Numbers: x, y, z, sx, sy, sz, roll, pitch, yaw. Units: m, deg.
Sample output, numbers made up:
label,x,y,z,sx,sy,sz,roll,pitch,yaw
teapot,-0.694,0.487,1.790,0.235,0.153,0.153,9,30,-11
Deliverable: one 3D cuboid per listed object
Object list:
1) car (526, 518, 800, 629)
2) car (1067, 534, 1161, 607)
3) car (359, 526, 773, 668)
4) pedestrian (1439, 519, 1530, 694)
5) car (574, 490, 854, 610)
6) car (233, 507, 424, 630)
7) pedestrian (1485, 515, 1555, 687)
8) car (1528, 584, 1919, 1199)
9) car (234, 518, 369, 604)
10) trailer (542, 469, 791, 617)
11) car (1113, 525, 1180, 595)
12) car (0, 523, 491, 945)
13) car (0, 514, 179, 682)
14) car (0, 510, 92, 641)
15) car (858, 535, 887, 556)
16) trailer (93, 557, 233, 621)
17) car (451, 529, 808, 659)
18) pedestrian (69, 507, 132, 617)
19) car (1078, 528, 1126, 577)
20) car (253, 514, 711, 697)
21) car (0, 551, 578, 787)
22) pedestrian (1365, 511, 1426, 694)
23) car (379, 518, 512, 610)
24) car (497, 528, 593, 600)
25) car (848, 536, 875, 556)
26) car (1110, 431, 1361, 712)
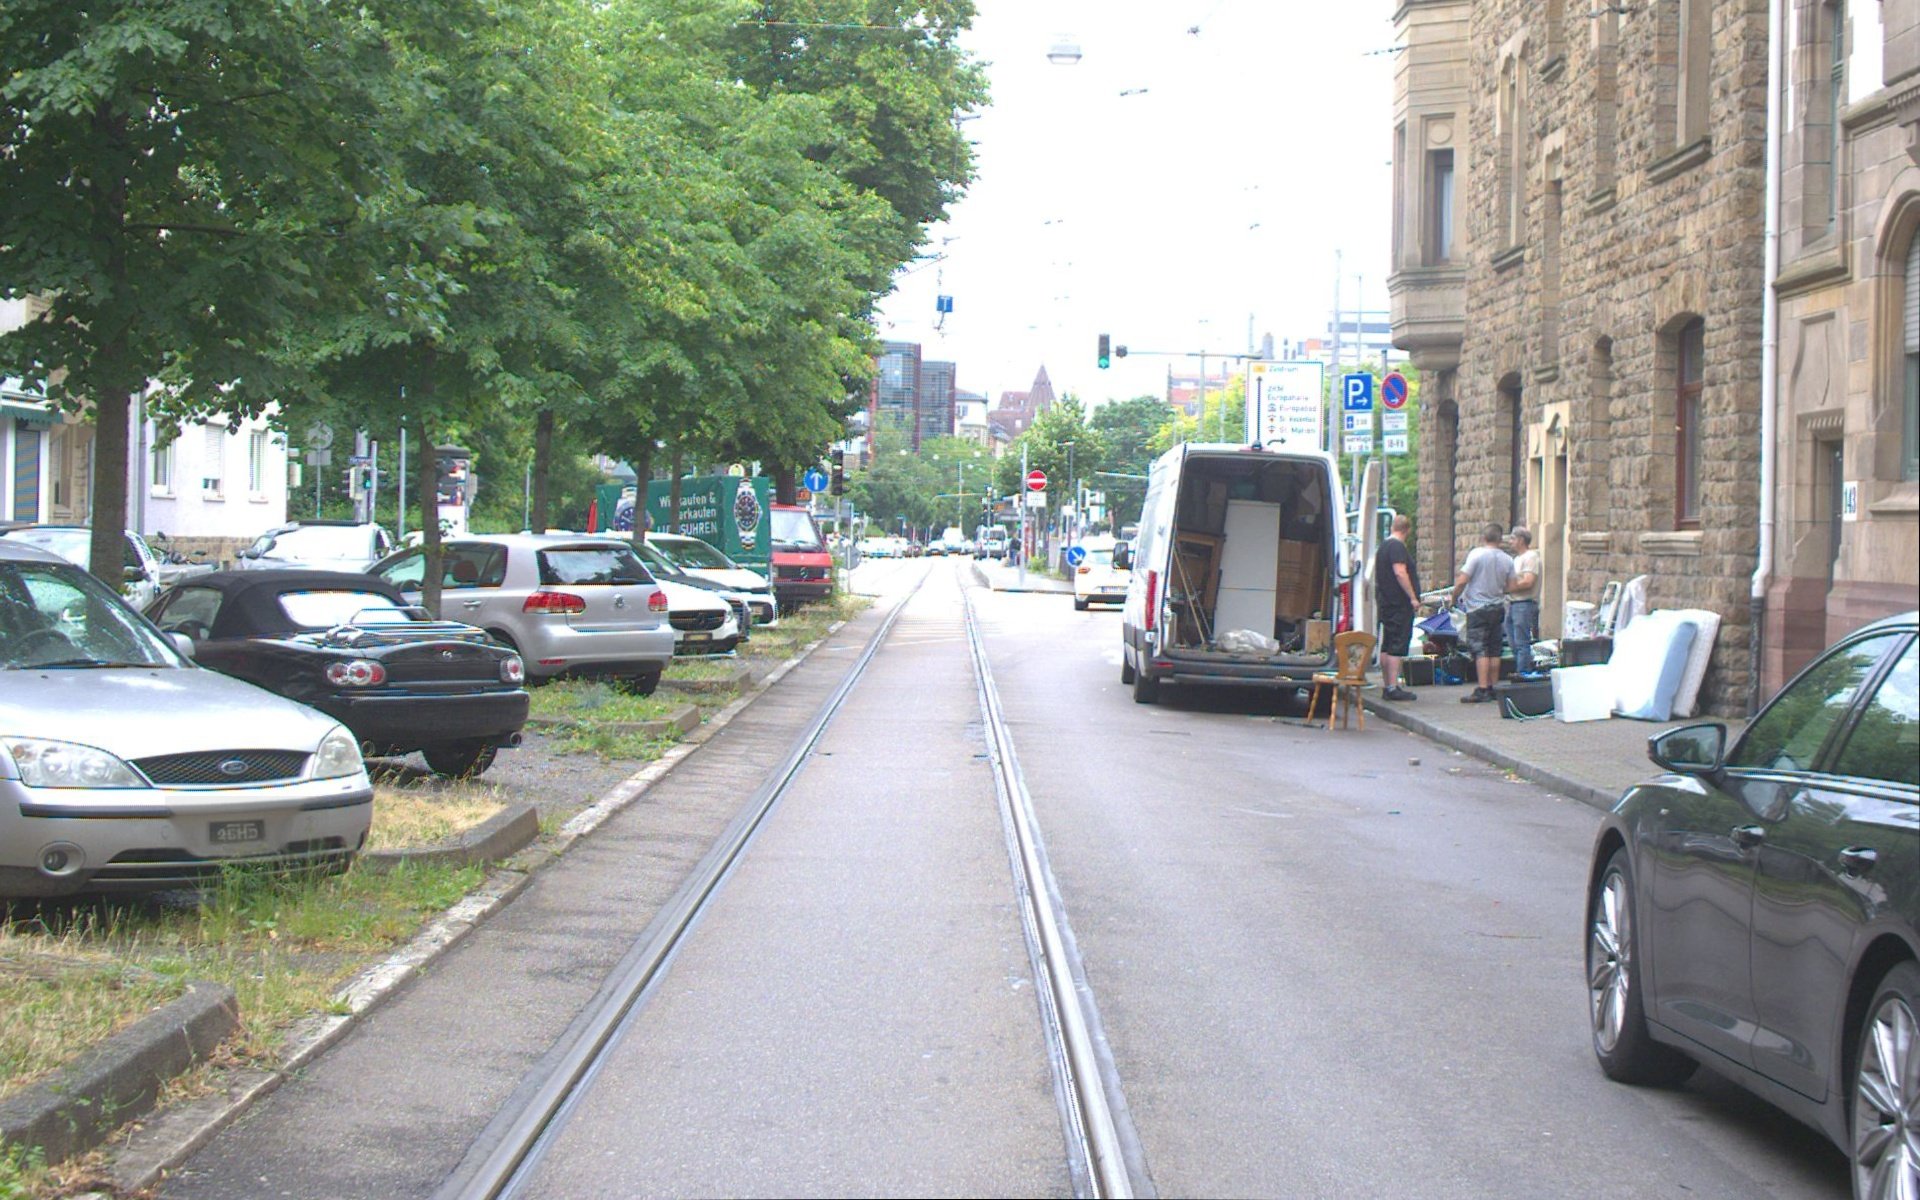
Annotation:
label,x,y,z,sx,sy,sz,roll,pitch,yaw
car,-4.246,-0.397,48.893,3.860,1.458,1.685,2,2,42
car,3.325,-0.650,73.542,1.783,1.467,4.009,2,1,5
car,-4.491,-0.069,38.753,4.684,1.430,1.894,2,2,40
pedestrian,5.161,0.054,33.827,0.702,1.694,0.493,-2,1,-27
car,-4.308,-0.888,59.772,4.763,1.967,1.955,2,2,39
car,-8.622,-0.442,47.279,1.805,1.573,4.547,1,1,-1
pedestrian,5.639,0.002,34.651,0.507,1.711,0.581,-1,1,-10
car,2.751,0.754,8.325,1.801,1.433,5.196,2,1,-1
car,-11.706,-0.714,61.357,1.634,1.438,4.571,1,1,-2
trailer,-4.860,-0.960,56.912,3.666,2.336,1.927,2,1,33
car,5.390,-1.186,99.778,1.782,1.956,4.382,1,1,1
car,-4.038,0.381,13.548,4.665,1.363,1.753,3,2,43
car,-8.549,-0.046,32.688,1.604,1.509,2.893,1,1,-1
car,-11.883,-0.337,42.421,1.634,1.545,2.951,1,1,-2
car,-6.018,-3.716,235.994,1.762,1.382,4.000,1,1,1
trailer,-11.910,-0.180,51.492,1.454,0.889,3.077,0,1,-2
car,-4.083,-0.105,42.034,4.337,1.430,1.894,2,2,42
pedestrian,-13.982,-0.625,55.957,0.797,1.760,0.900,1,1,-1
car,5.884,-1.982,143.056,1.782,1.956,4.382,1,1,0
car,-4.354,0.014,30.987,4.114,1.479,1.793,2,2,41
car,-4.229,0.355,20.656,3.960,1.198,1.664,3,2,44
pedestrian,4.379,0.013,34.575,0.499,1.809,0.803,-1,1,1
car,-8.912,-0.632,59.809,1.644,1.499,4.622,1,1,-1
car,-9.041,-0.798,75.099,1.644,1.499,3.884,1,1,-1
car,-7.220,-3.976,252.782,1.762,1.382,4.000,1,1,1
car,2.738,-0.340,35.766,2.013,2.540,7.017,3,1,1
